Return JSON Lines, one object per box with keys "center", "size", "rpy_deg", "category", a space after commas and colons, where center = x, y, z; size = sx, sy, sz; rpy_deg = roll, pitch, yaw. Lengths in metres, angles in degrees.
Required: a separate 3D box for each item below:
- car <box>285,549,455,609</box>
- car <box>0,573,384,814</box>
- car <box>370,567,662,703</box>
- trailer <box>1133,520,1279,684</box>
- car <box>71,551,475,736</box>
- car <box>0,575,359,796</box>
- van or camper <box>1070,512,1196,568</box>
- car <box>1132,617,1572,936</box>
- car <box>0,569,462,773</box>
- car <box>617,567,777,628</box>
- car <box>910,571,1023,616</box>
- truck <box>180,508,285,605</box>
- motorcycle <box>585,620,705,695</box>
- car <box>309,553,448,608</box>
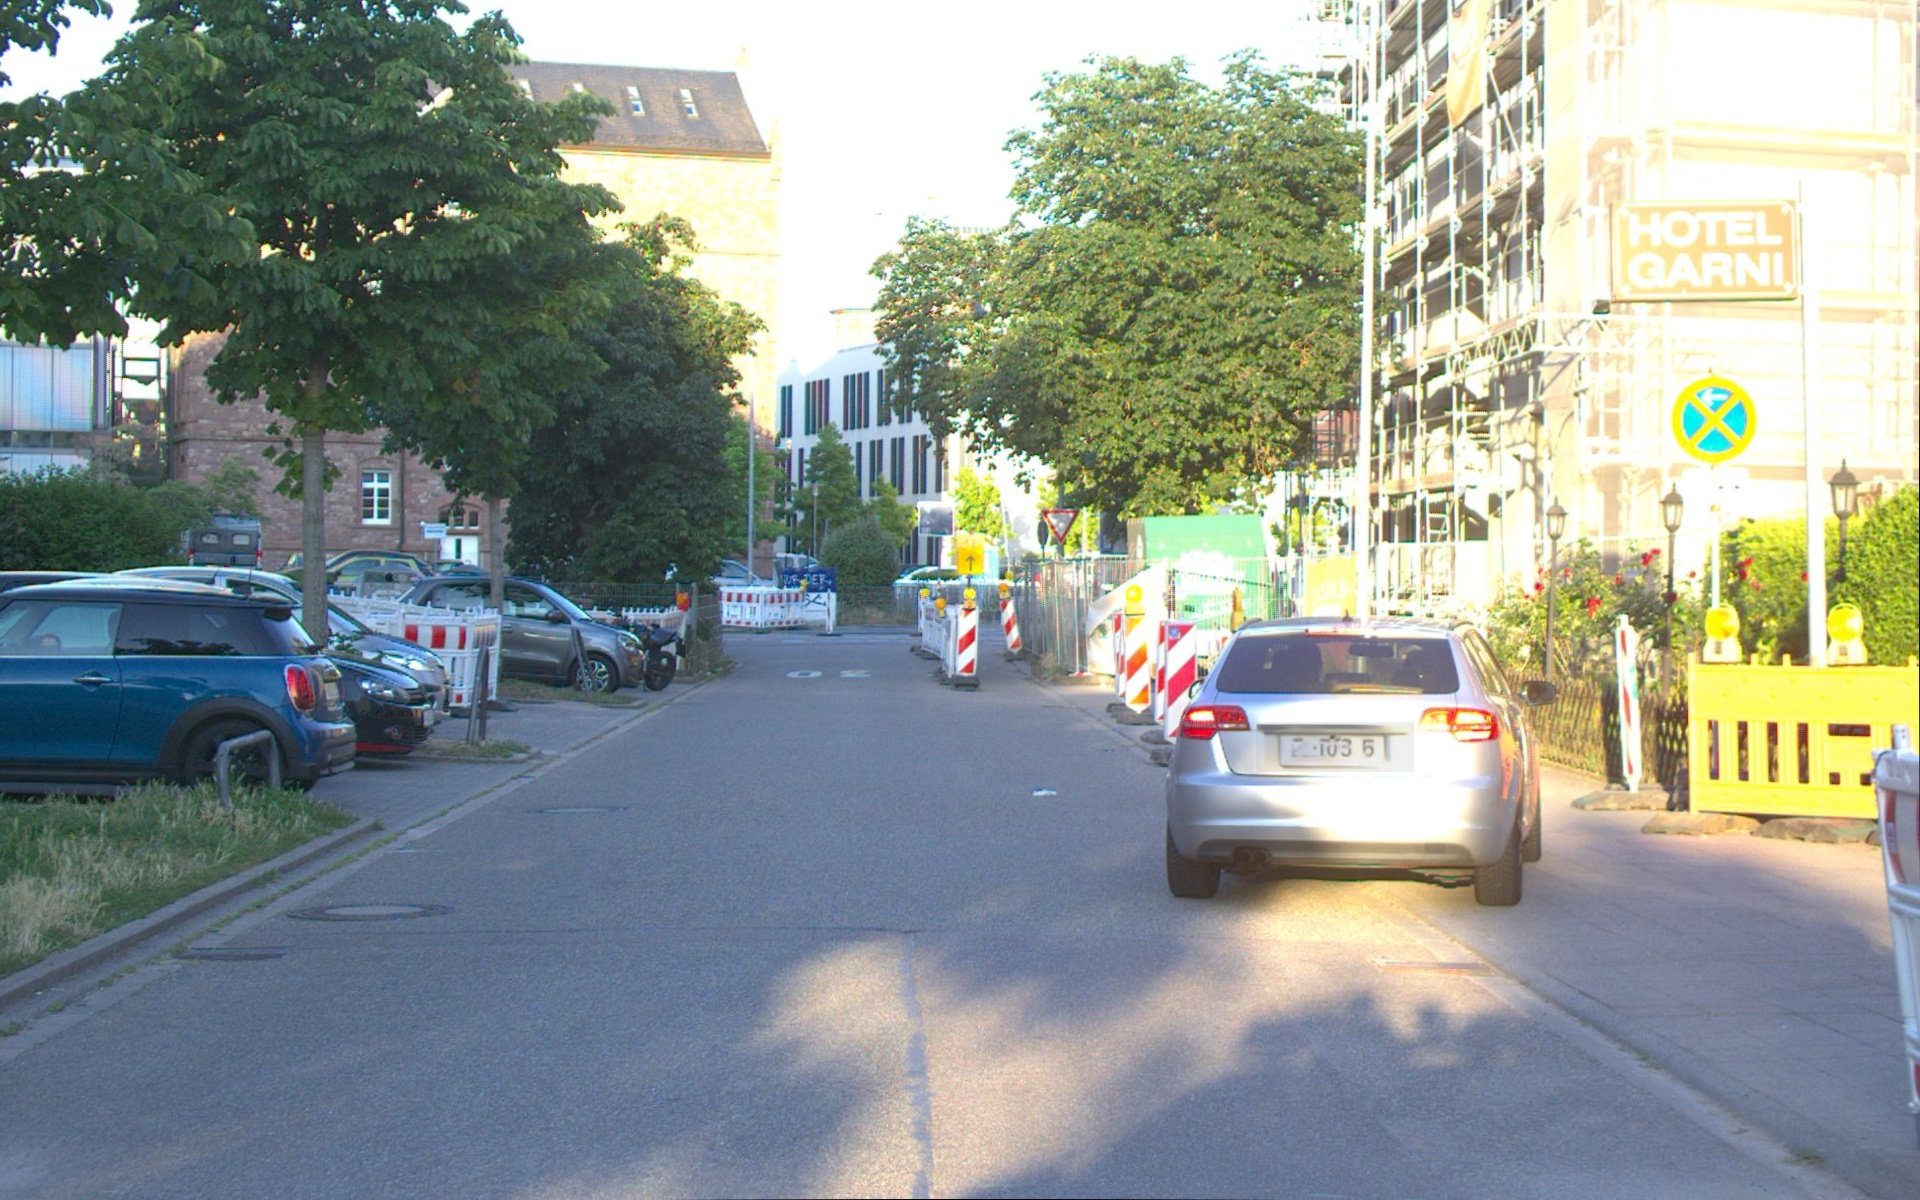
{"center": [-16.850, -0.607, 98.150], "size": [4.582, 1.632, 1.576], "rpy_deg": [1, 1, -17], "category": "car"}
{"center": [-5.794, 0.569, 22.520], "size": [3.677, 1.440, 1.728], "rpy_deg": [2, -1, 1], "category": "car"}
{"center": [-5.909, 0.456, 46.008], "size": [3.623, 1.551, 1.693], "rpy_deg": [4, 0, -1], "category": "car"}
{"center": [3.937, 0.001, 55.727], "size": [1.993, 2.531, 4.186], "rpy_deg": [1, 1, 0], "category": "trailer"}
{"center": [-6.406, 0.410, 32.346], "size": [3.474, 1.561, 1.728], "rpy_deg": [2, -1, -4], "category": "car"}
{"center": [-6.432, 0.585, 25.196], "size": [3.677, 1.479, 1.728], "rpy_deg": [2, -1, 1], "category": "car"}
{"center": [7.253, -2.484, 143.889], "size": [4.961, 2.233, 1.687], "rpy_deg": [1, 0, -22], "category": "van or camper"}
{"center": [2.172, 0.826, 18.051], "size": [1.777, 1.392, 4.105], "rpy_deg": [1, 1, 14], "category": "car"}
{"center": [-6.203, 0.558, 27.979], "size": [3.977, 1.484, 1.728], "rpy_deg": [2, -1, 1], "category": "car"}
{"center": [-7.540, -0.075, 98.625], "size": [4.268, 1.703, 1.703], "rpy_deg": [1, 1, -20], "category": "car"}
{"center": [0.243, -0.235, 126.130], "size": [3.739, 1.597, 1.687], "rpy_deg": [1, 0, -22], "category": "car"}
{"center": [-20.387, -1.242, 96.229], "size": [2.333, 2.608, 4.974], "rpy_deg": [1, 1, -18], "category": "truck"}
{"center": [-4.521, 0.838, 49.565], "size": [0.538, 1.017, 2.208], "rpy_deg": [4, 0, 28], "category": "motorcycle"}
{"center": [-16.242, -0.549, 96.031], "size": [3.630, 1.498, 1.638], "rpy_deg": [1, 1, -17], "category": "car"}
